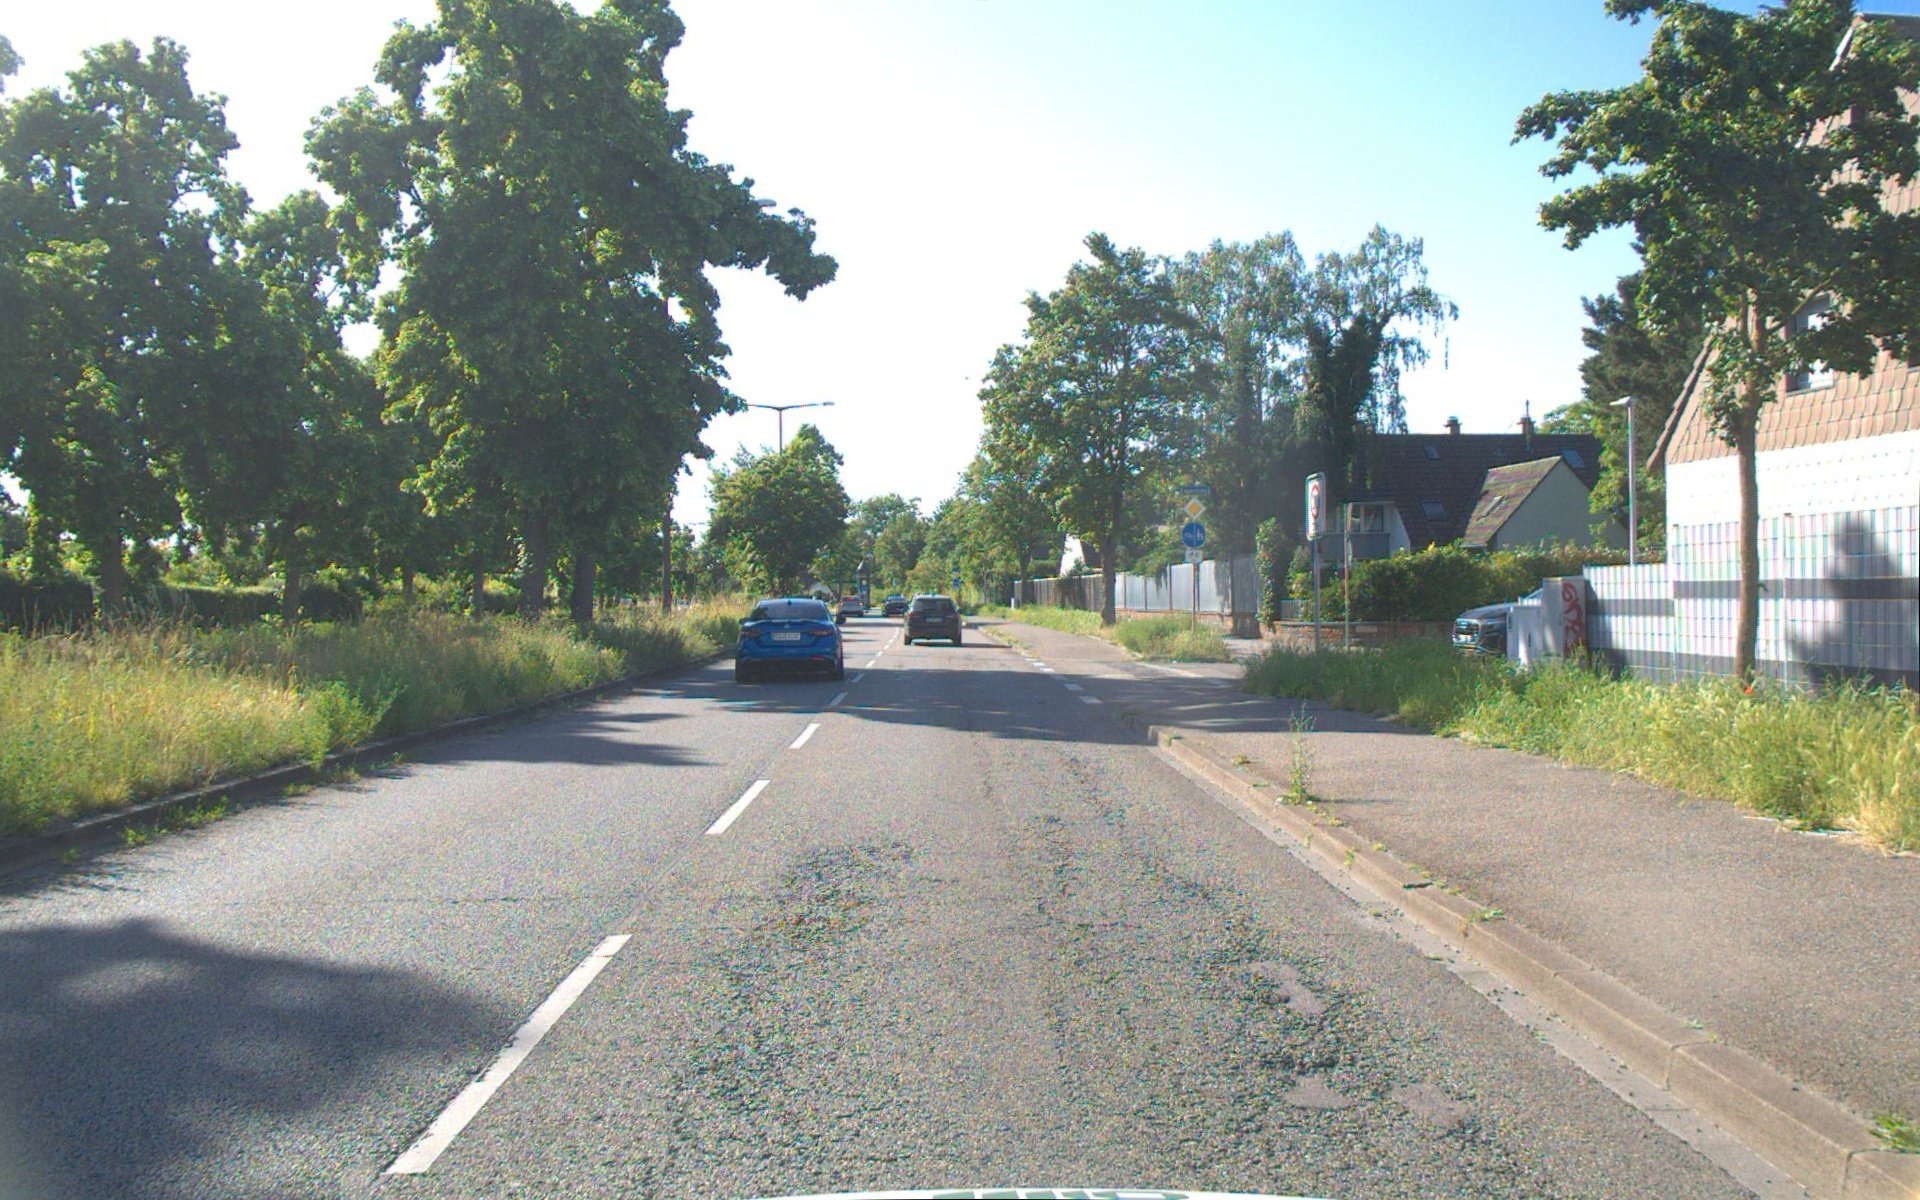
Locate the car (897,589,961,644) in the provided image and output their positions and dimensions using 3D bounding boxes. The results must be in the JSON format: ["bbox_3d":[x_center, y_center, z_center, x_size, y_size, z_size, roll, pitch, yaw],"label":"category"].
[{"bbox_3d":[-0.977,0.476,50.667,1.877,1.607,4.181,0,0,-2],"label":"car"}]

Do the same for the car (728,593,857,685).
[{"bbox_3d":[-2.946,0.687,29.874,1.800,1.500,4.184,-1,-1,1],"label":"car"}]

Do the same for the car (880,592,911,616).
[{"bbox_3d":[-4.764,0.270,121.164,1.879,1.707,4.005,0,0,-8],"label":"car"}]

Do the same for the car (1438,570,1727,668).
[{"bbox_3d":[11.586,0.319,30.948,4.652,1.685,2.068,-1,1,-8],"label":"car"}]

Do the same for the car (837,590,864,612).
[{"bbox_3d":[-7.698,0.054,116.647,1.877,1.538,4.065,0,0,-3],"label":"car"}]
